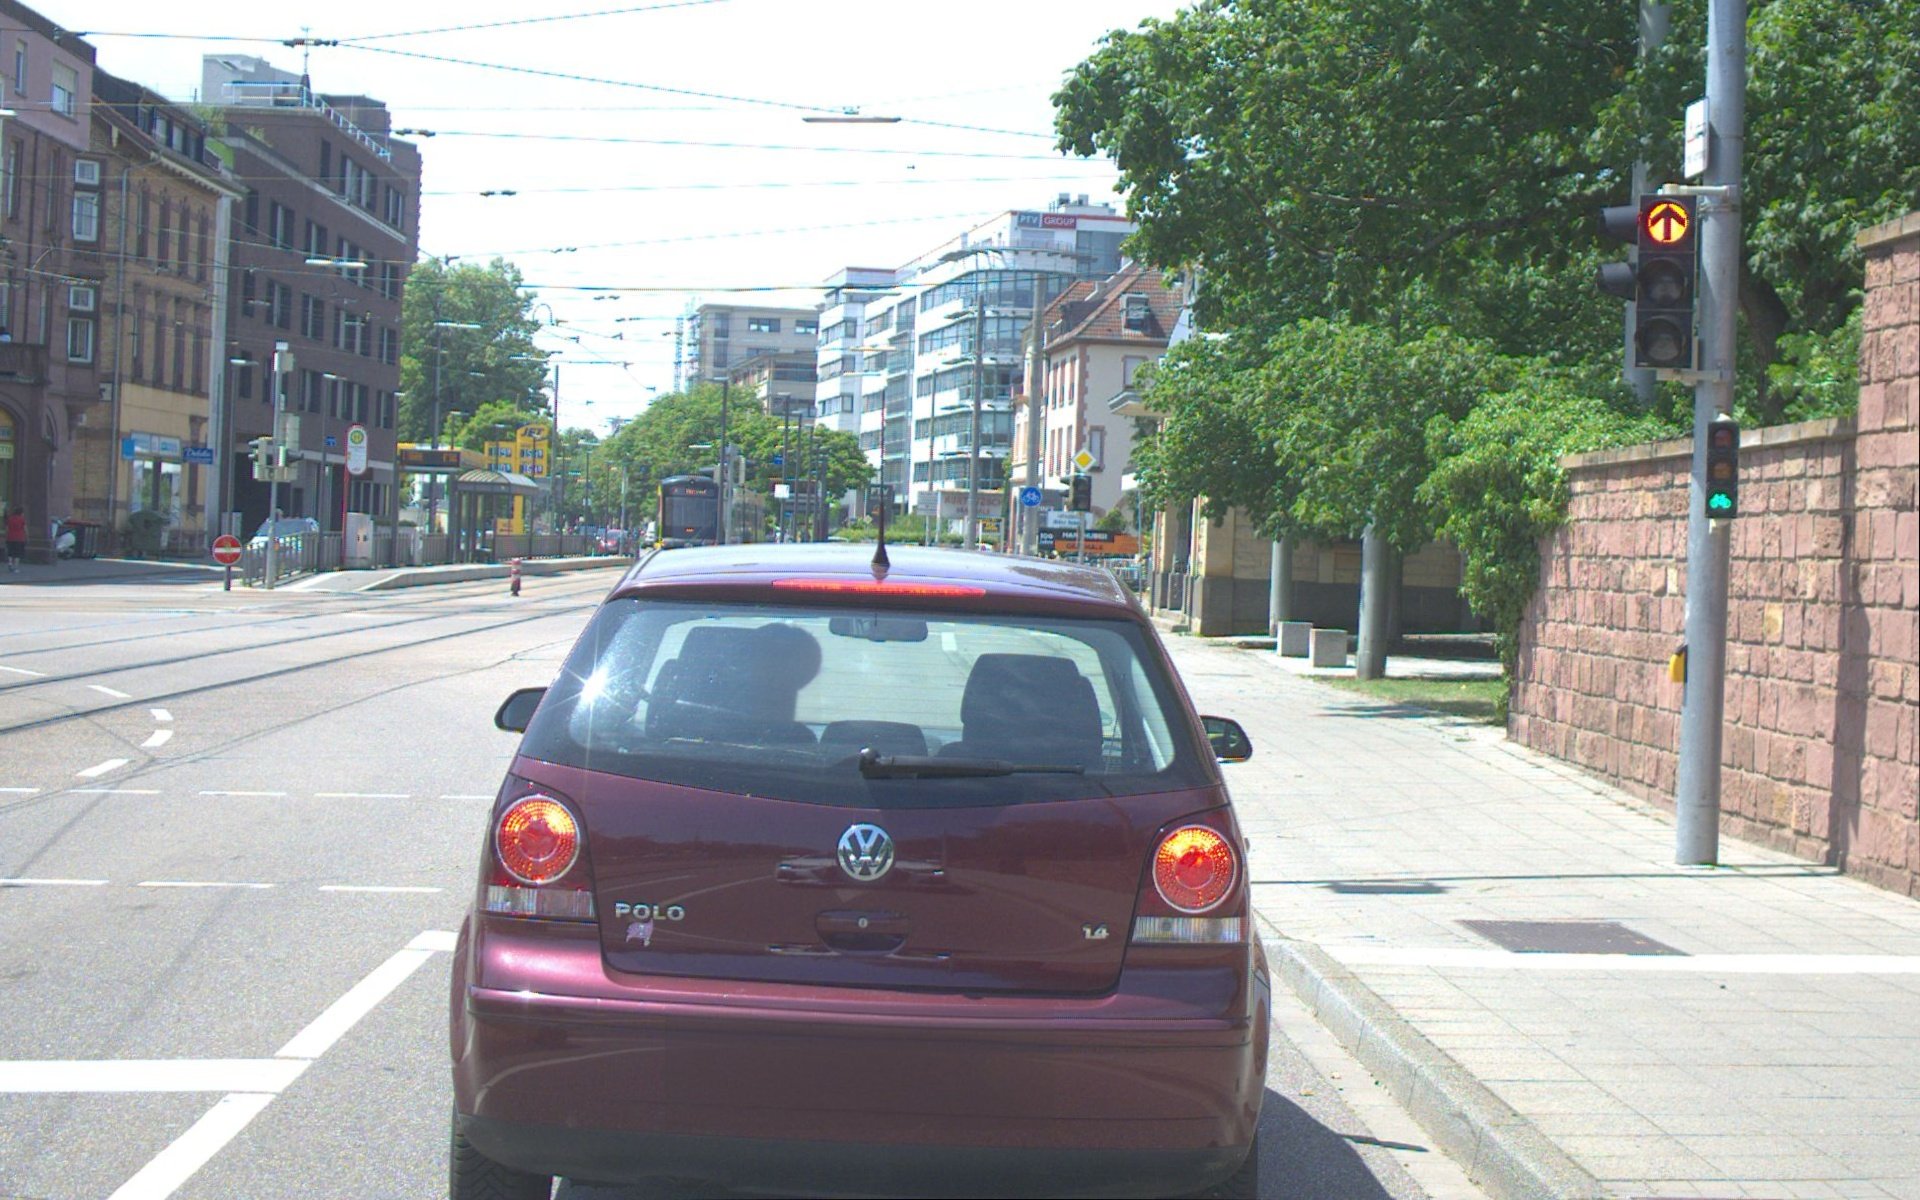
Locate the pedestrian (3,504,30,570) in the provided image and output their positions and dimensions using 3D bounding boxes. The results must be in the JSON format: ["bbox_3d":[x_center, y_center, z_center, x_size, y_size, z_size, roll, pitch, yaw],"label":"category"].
[{"bbox_3d":[-21.958,-1.465,80.015,0.483,1.535,0.538,1,0,-4],"label":"pedestrian"}]

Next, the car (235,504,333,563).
[{"bbox_3d":[-17.795,-1.742,90.671,1.689,1.457,4.000,2,1,1],"label":"car"}]

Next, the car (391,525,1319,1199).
[{"bbox_3d":[-0.249,0.588,8.182,1.610,1.458,4.086,2,1,-2],"label":"car"}]

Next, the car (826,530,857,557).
[{"bbox_3d":[-6.128,-2.939,178.103,1.572,1.411,3.720,0,1,-1],"label":"car"}]

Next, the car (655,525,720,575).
[{"bbox_3d":[-9.250,-1.692,117.034,1.938,1.635,4.000,1,0,-1],"label":"car"}]

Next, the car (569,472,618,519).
[{"bbox_3d":[-16.455,-4.662,154.361,1.735,2.007,4.000,2,1,-1],"label":"car"}]

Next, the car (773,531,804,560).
[{"bbox_3d":[-9.997,-3.179,200.390,1.780,1.603,4.152,1,1,-2],"label":"car"}]
